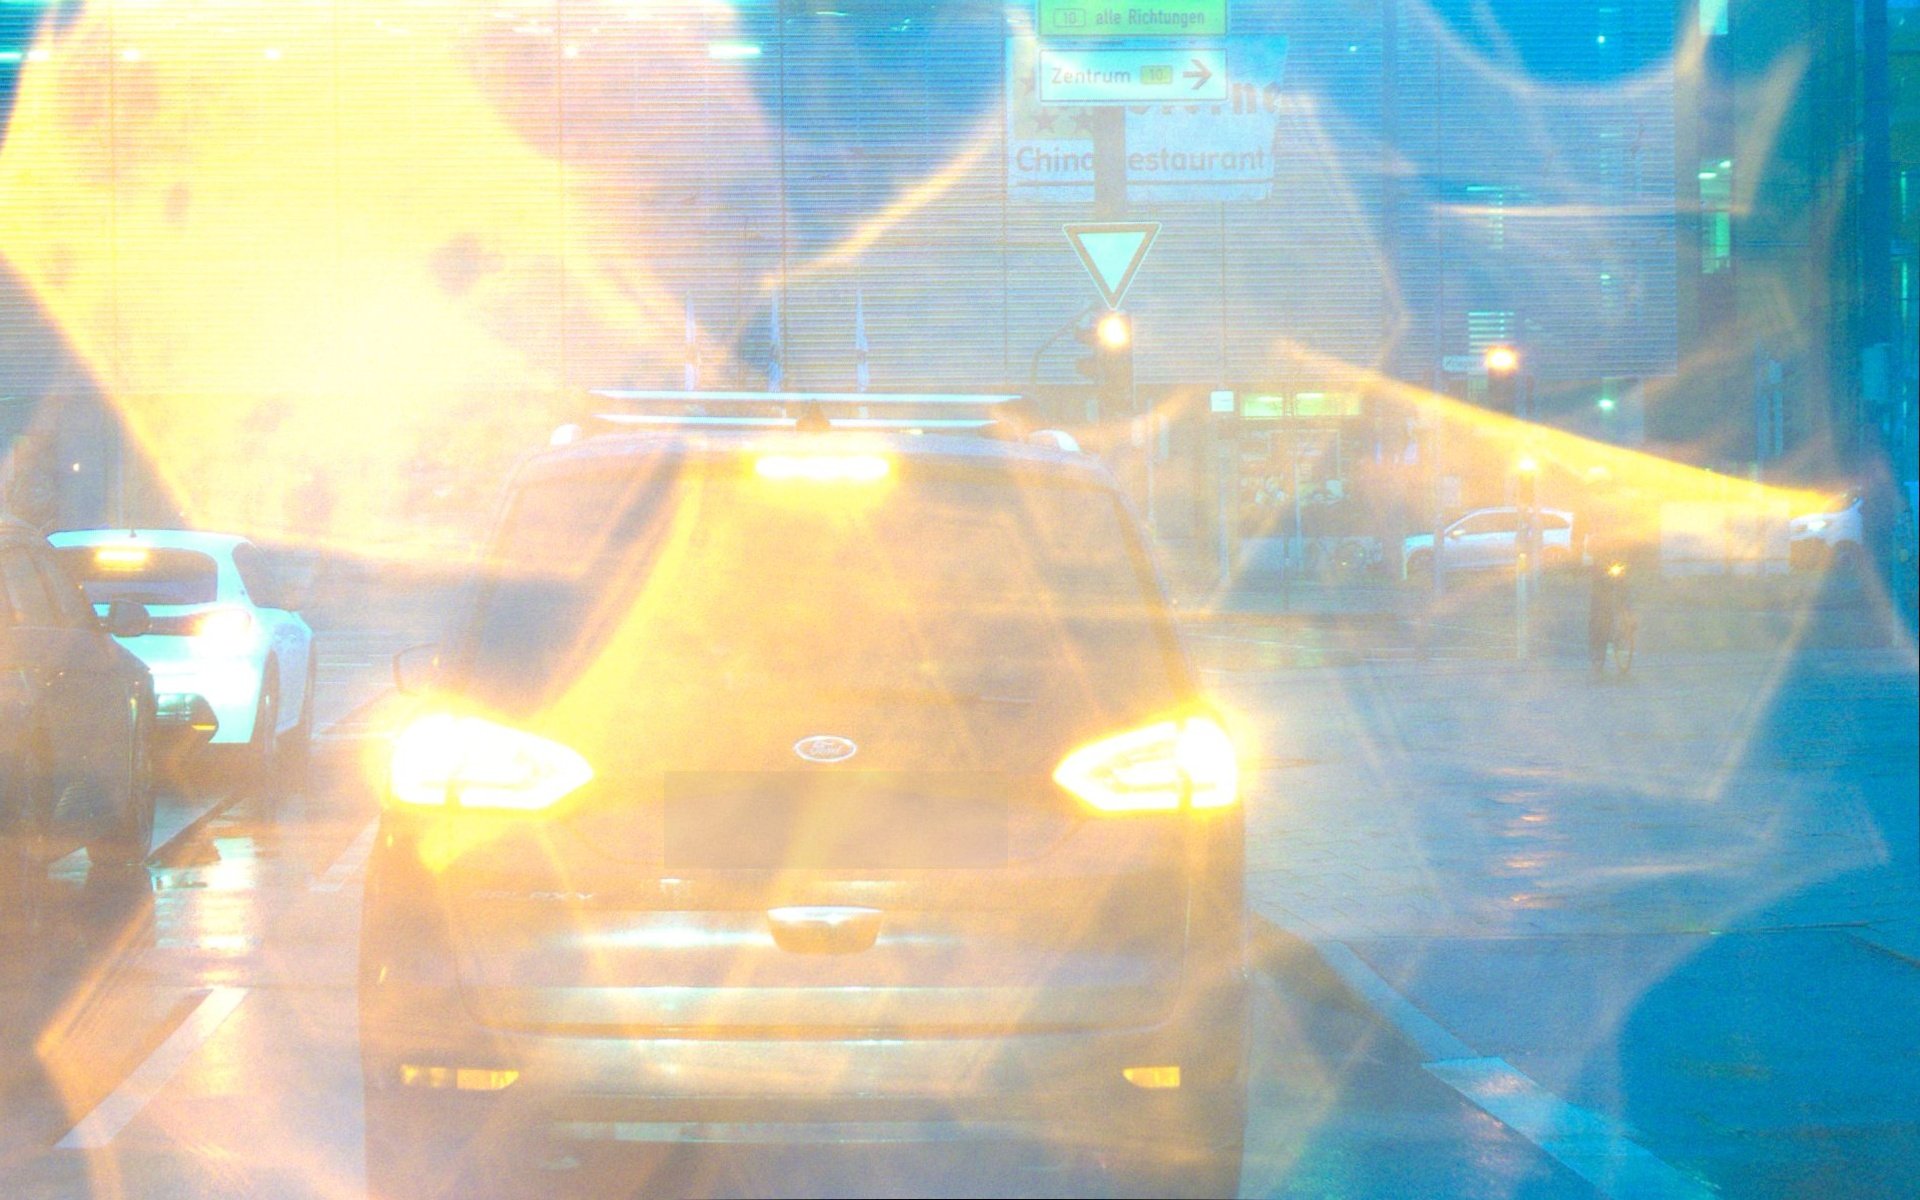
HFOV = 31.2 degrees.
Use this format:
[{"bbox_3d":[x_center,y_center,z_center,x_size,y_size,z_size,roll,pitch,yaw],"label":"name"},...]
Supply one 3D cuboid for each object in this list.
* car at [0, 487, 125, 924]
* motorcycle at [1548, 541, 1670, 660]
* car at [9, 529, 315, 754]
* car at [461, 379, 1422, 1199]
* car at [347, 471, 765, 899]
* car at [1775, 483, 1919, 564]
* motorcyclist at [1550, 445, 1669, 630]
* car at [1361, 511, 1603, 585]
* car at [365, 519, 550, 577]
[{"bbox_3d":[-4.413,0.370,13.211,1.752,1.568,4.001,-1,1,-5],"label":"car"},{"bbox_3d":[5.507,-0.012,29.254,0.853,0.968,1.581,0,1,4],"label":"motorcycle"},{"bbox_3d":[-4.846,0.192,21.281,1.540,1.247,4.069,0,1,-9],"label":"car"},{"bbox_3d":[-0.164,0.432,8.487,1.735,1.732,4.248,2,1,-4],"label":"car"},{"bbox_3d":[-1.783,0.309,15.484,1.636,1.691,3.671,0,1,-6],"label":"car"},{"bbox_3d":[18.806,-1.551,68.994,4.418,1.589,1.800,-1,1,-8],"label":"car"},{"bbox_3d":[5.500,-0.530,29.163,0.868,1.529,1.108,0,1,4],"label":"motorcyclist"},{"bbox_3d":[10.330,-1.039,68.165,4.418,1.385,1.800,-1,1,-8],"label":"car"},{"bbox_3d":[-10.510,-1.099,72.115,3.758,1.161,1.681,-1,1,-6],"label":"car"}]
